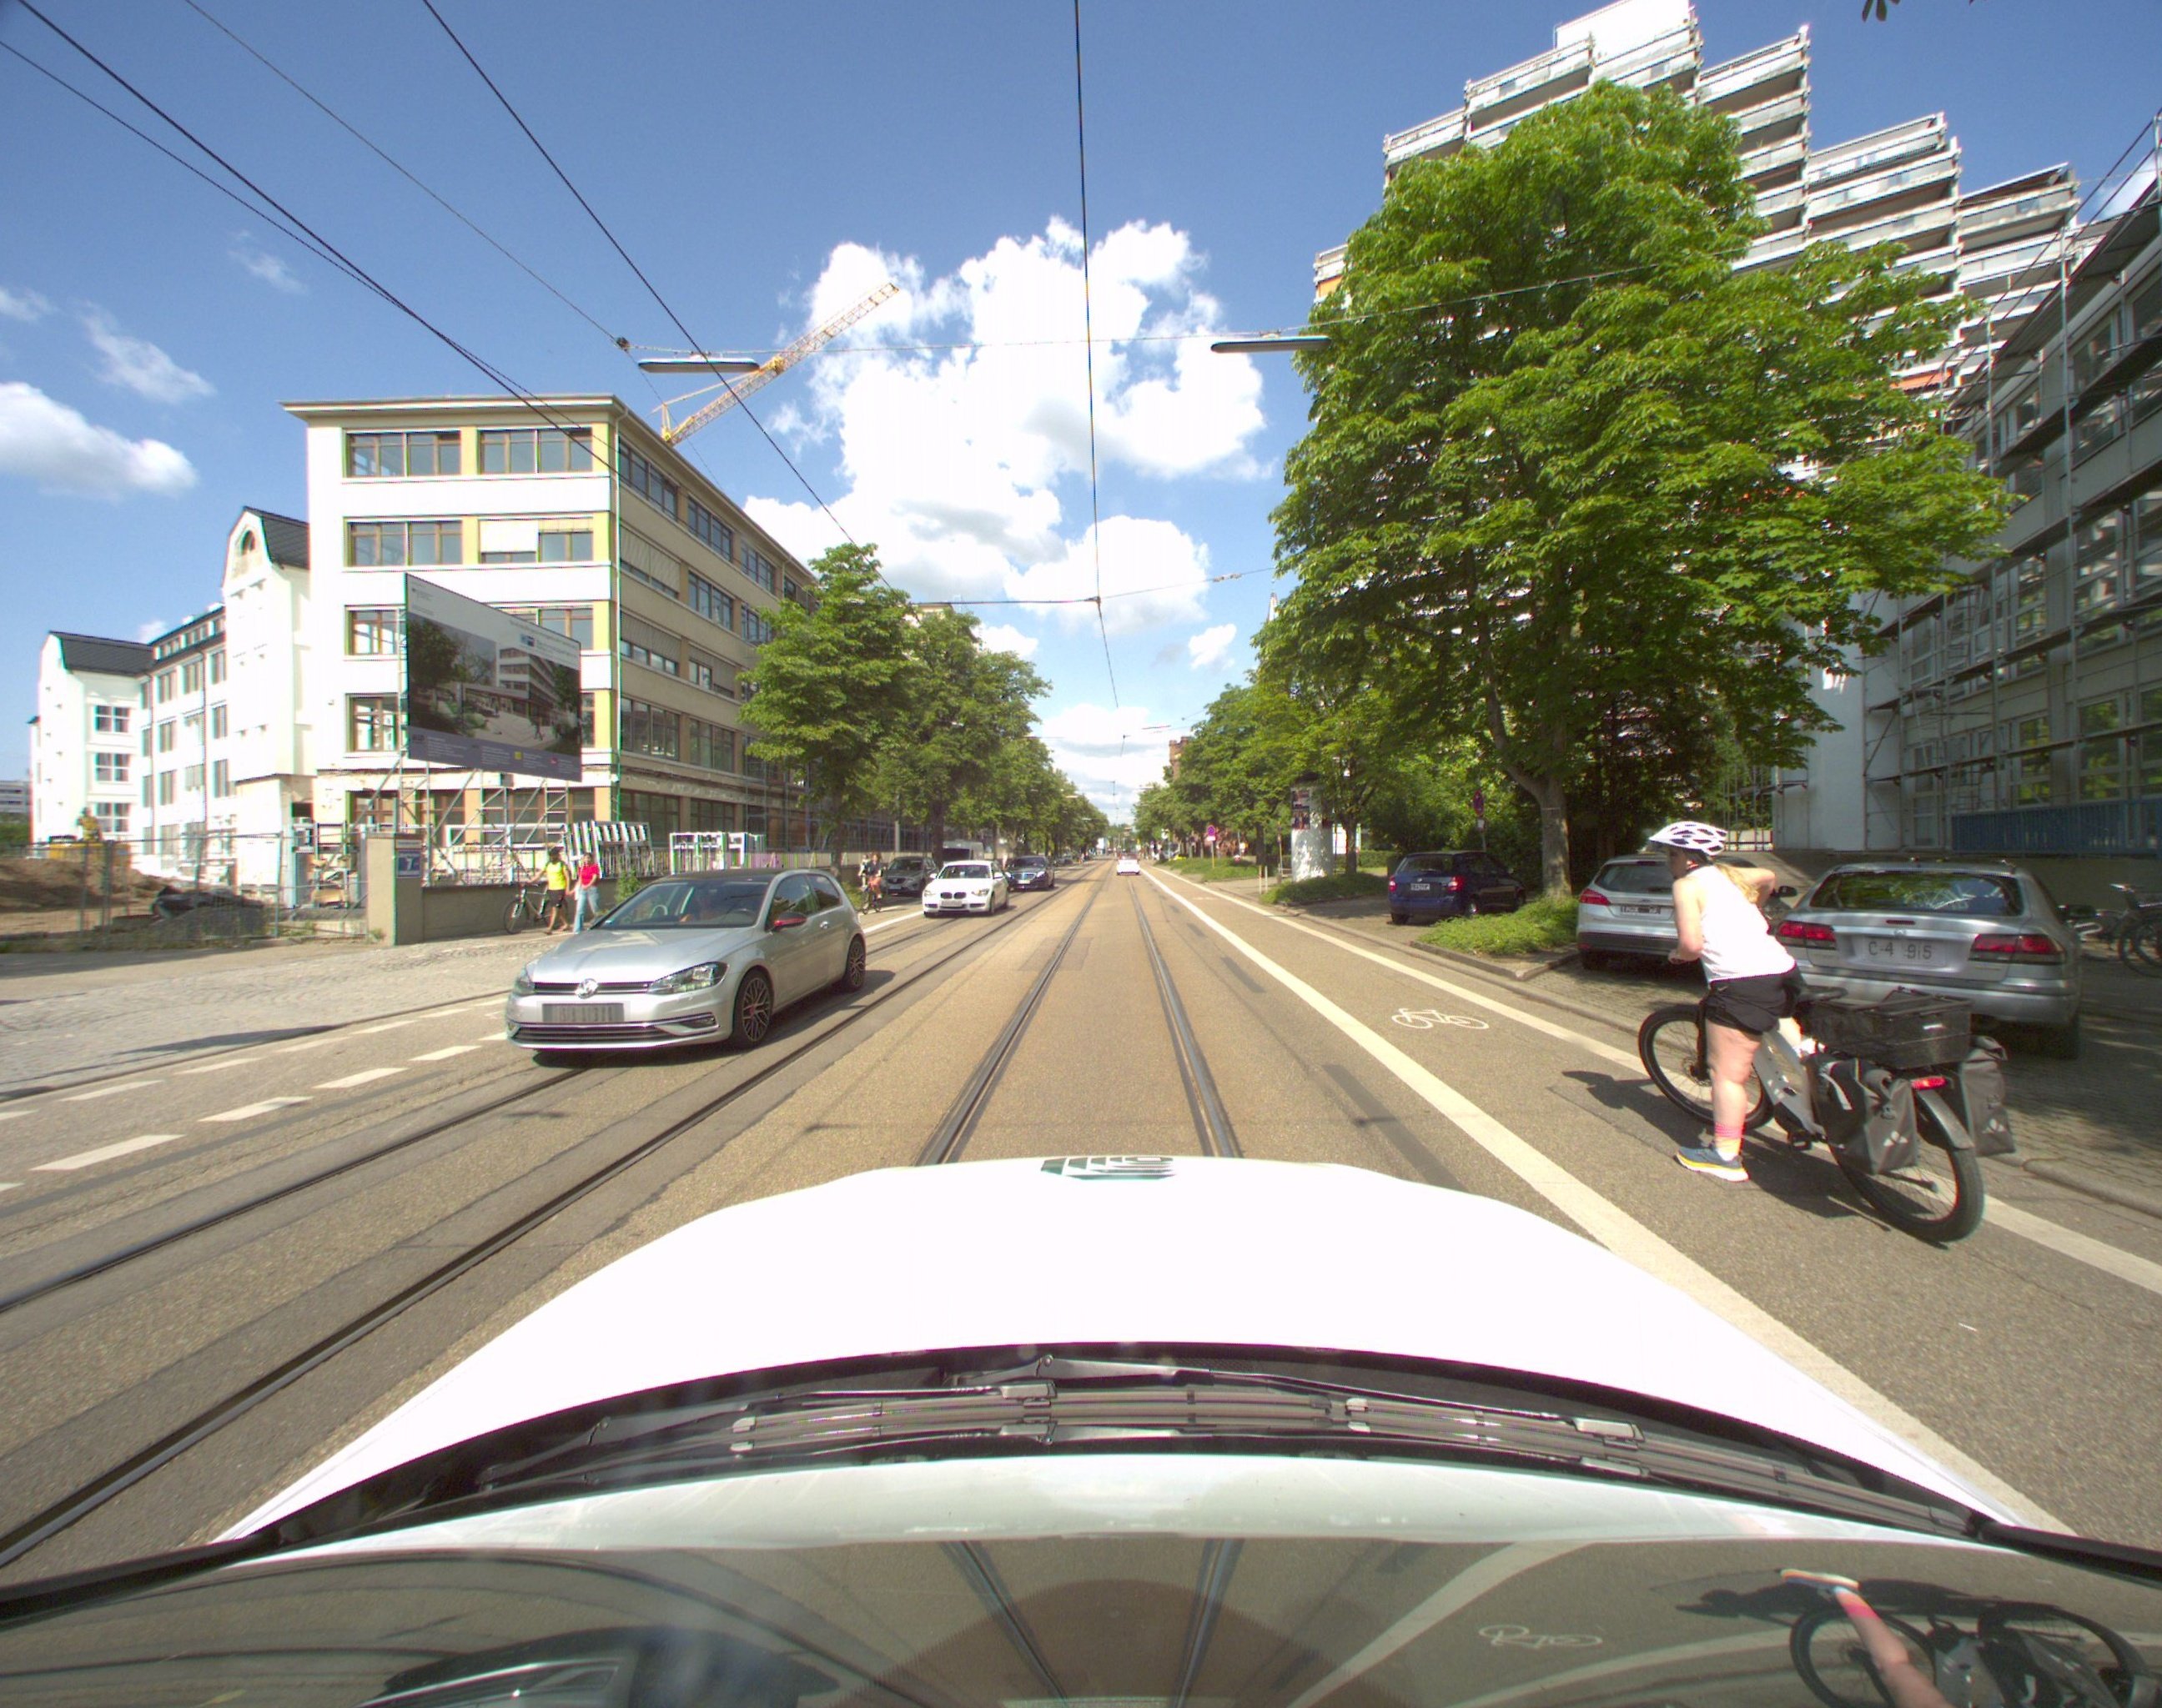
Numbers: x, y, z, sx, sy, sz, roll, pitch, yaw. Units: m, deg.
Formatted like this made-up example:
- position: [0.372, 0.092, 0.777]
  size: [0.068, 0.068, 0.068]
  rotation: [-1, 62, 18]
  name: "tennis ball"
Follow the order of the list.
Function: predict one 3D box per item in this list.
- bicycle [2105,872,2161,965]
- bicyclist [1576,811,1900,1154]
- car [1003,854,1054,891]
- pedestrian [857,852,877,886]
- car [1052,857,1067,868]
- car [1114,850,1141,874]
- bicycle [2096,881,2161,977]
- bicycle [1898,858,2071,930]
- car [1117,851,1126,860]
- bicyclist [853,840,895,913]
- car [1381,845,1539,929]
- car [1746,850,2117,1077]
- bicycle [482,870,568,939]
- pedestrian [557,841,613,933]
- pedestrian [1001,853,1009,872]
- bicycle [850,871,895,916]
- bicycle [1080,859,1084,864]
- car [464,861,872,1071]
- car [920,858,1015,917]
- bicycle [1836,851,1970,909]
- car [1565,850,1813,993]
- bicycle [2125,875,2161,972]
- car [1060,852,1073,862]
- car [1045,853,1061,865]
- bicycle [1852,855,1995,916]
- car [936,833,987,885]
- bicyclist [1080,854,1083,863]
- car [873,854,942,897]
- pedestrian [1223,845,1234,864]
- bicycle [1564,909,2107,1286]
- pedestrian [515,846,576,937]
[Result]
- position: [13.641, 0.762, 9.607]
  size: [1.877, 1.096, 0.454]
  rotation: [-2, 0, 33]
  name: "bicycle"
- position: [3.297, 0.572, 4.232]
  size: [0.885, 1.529, 1.087]
  rotation: [1, 0, 8]
  name: "bicyclist"
- position: [-2.235, 0.760, 35.568]
  size: [1.793, 1.508, 4.538]
  rotation: [0, 0, 2]
  name: "car"
- position: [-10.282, 0.727, 39.101]
  size: [0.761, 1.620, 0.594]
  rotation: [1, -1, 2]
  name: "pedestrian"
- position: [-3.166, 1.190, 119.615]
  size: [1.797, 1.516, 4.105]
  rotation: [1, 0, 3]
  name: "car"
- position: [3.256, 0.545, 57.516]
  size: [1.659, 1.624, 3.621]
  rotation: [-1, 0, 1]
  name: "car"
- position: [12.771, 0.833, 9.000]
  size: [1.877, 1.053, 0.454]
  rotation: [-2, 0, 33]
  name: "bicycle"
- position: [14.645, 0.646, 13.263]
  size: [1.809, 1.095, 0.454]
  rotation: [-2, 2, 33]
  name: "bicycle"
- position: [7.061, 0.205, 142.148]
  size: [1.659, 1.492, 3.622]
  rotation: [-1, 1, 2]
  name: "car"
- position: [-5.862, 0.631, 23.089]
  size: [0.873, 2.014, 0.834]
  rotation: [-3, -1, 1]
  name: "bicyclist"
- position: [8.018, 0.606, 17.048]
  size: [4.023, 1.486, 1.596]
  rotation: [-2, 0, -44]
  name: "car"
- position: [7.664, 0.700, 7.222]
  size: [4.261, 1.420, 1.705]
  rotation: [-1, 1, -36]
  name: "car"
- position: [-11.341, 0.996, 16.685]
  size: [0.444, 1.286, 1.740]
  rotation: [-1, 0, 5]
  name: "bicycle"
- position: [-10.181, 0.664, 16.743]
  size: [0.706, 1.831, 0.661]
  rotation: [2, 1, -3]
  name: "pedestrian"
- position: [-8.113, 0.923, 86.625]
  size: [0.802, 2.013, 0.484]
  rotation: [-1, 0, -7]
  name: "pedestrian"
- position: [-5.844, 1.076, 22.955]
  size: [0.641, 1.166, 1.945]
  rotation: [-4, -1, 2]
  name: "bicycle"
- position: [0.111, 1.376, 147.905]
  size: [0.615, 0.973, 1.718]
  rotation: [-1, 0, 3]
  name: "bicycle"
- position: [-3.434, 0.811, 7.720]
  size: [1.766, 1.416, 3.853]
  rotation: [-2, 0, 2]
  name: "car"
- position: [-2.944, 0.839, 21.972]
  size: [1.679, 1.405, 4.231]
  rotation: [-1, 0, 4]
  name: "car"
- position: [16.429, 0.518, 16.330]
  size: [1.809, 1.096, 0.454]
  rotation: [-1, 1, 33]
  name: "bicycle"
- position: [7.798, 0.698, 10.333]
  size: [3.824, 1.474, 1.634]
  rotation: [0, 1, -39]
  name: "car"
- position: [13.365, 0.789, 9.186]
  size: [1.877, 1.096, 0.454]
  rotation: [-2, 0, 33]
  name: "bicycle"
- position: [-2.371, 0.522, 132.262]
  size: [1.797, 1.516, 4.105]
  rotation: [-1, 0, 3]
  name: "car"
- position: [-3.679, 0.669, 107.284]
  size: [1.797, 1.516, 4.105]
  rotation: [-1, 0, 3]
  name: "car"
- position: [15.783, 0.578, 15.319]
  size: [1.809, 1.096, 0.454]
  rotation: [-1, 1, 33]
  name: "bicycle"
- position: [-6.493, 0.260, 44.660]
  size: [1.762, 2.639, 5.325]
  rotation: [1, 0, 2]
  name: "car"
- position: [0.102, 0.871, 147.937]
  size: [0.656, 1.579, 0.946]
  rotation: [1, 0, 1]
  name: "bicyclist"
- position: [-7.146, 0.866, 33.992]
  size: [1.797, 1.662, 4.105]
  rotation: [1, -1, 3]
  name: "car"
- position: [15.703, 0.022, 86.666]
  size: [0.973, 2.014, 1.093]
  rotation: [1, 0, 1]
  name: "pedestrian"
- position: [3.275, 0.921, 3.940]
  size: [0.870, 1.126, 2.141]
  rotation: [1, 1, 8]
  name: "bicycle"
- position: [-10.873, 0.752, 16.553]
  size: [0.706, 1.793, 0.661]
  rotation: [3, -1, -3]
  name: "pedestrian"
